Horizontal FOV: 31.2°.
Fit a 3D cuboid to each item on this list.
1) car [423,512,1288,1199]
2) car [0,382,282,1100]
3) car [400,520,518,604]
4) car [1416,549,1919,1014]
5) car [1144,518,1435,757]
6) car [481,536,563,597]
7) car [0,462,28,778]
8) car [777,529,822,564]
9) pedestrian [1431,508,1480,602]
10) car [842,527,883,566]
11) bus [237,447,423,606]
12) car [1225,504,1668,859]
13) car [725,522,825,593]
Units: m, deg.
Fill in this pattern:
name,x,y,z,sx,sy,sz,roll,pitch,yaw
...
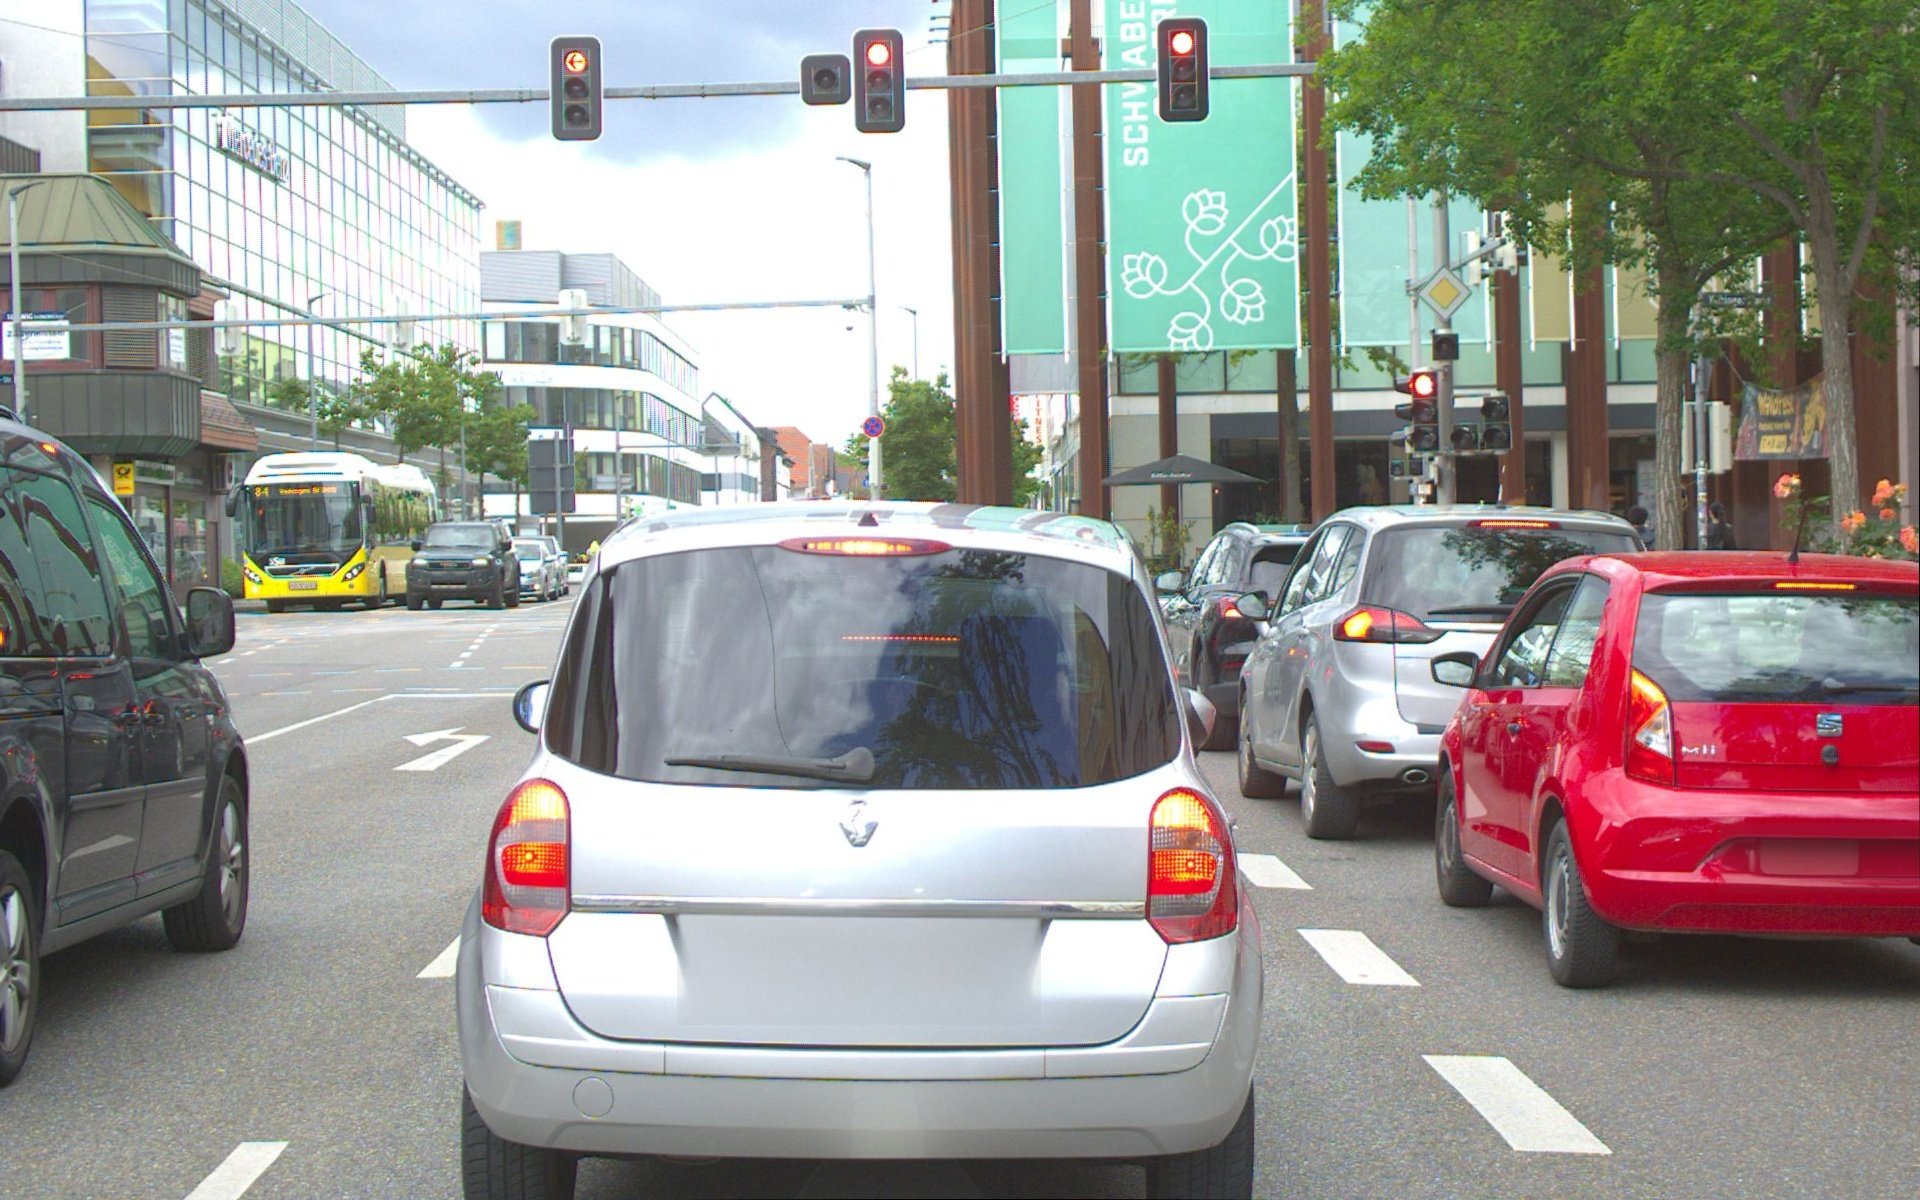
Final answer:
name,x,y,z,sx,sy,sz,roll,pitch,yaw
car,-0.227,0.563,8.254,1.640,1.522,3.394,0,1,-1
car,-3.348,0.325,10.273,1.744,1.849,4.634,1,1,0
car,-10.514,-0.818,72.348,1.993,1.700,4.065,-1,1,-2
car,2.717,0.557,12.586,1.586,1.438,3.348,1,1,-1
car,2.338,0.216,25.237,1.586,1.589,3.869,1,1,-2
car,-10.162,-0.794,79.929,1.555,1.387,3.288,-1,1,-2
car,-6.530,0.183,18.647,1.993,1.881,5.160,-2,1,-6
car,-7.349,-2.458,157.288,1.801,1.535,4.065,0,1,1
pedestrian,8.716,-0.790,60.475,0.651,1.645,0.559,-1,1,-15
car,-4.896,-2.702,172.608,1.993,1.942,4.951,-1,1,-2
bus,-13.620,-1.610,74.992,2.686,3.250,8.654,-1,1,-2
car,2.420,0.343,17.985,1.586,1.628,3.917,1,1,-2
car,-4.501,-1.068,84.228,1.917,1.671,4.242,0,1,4
